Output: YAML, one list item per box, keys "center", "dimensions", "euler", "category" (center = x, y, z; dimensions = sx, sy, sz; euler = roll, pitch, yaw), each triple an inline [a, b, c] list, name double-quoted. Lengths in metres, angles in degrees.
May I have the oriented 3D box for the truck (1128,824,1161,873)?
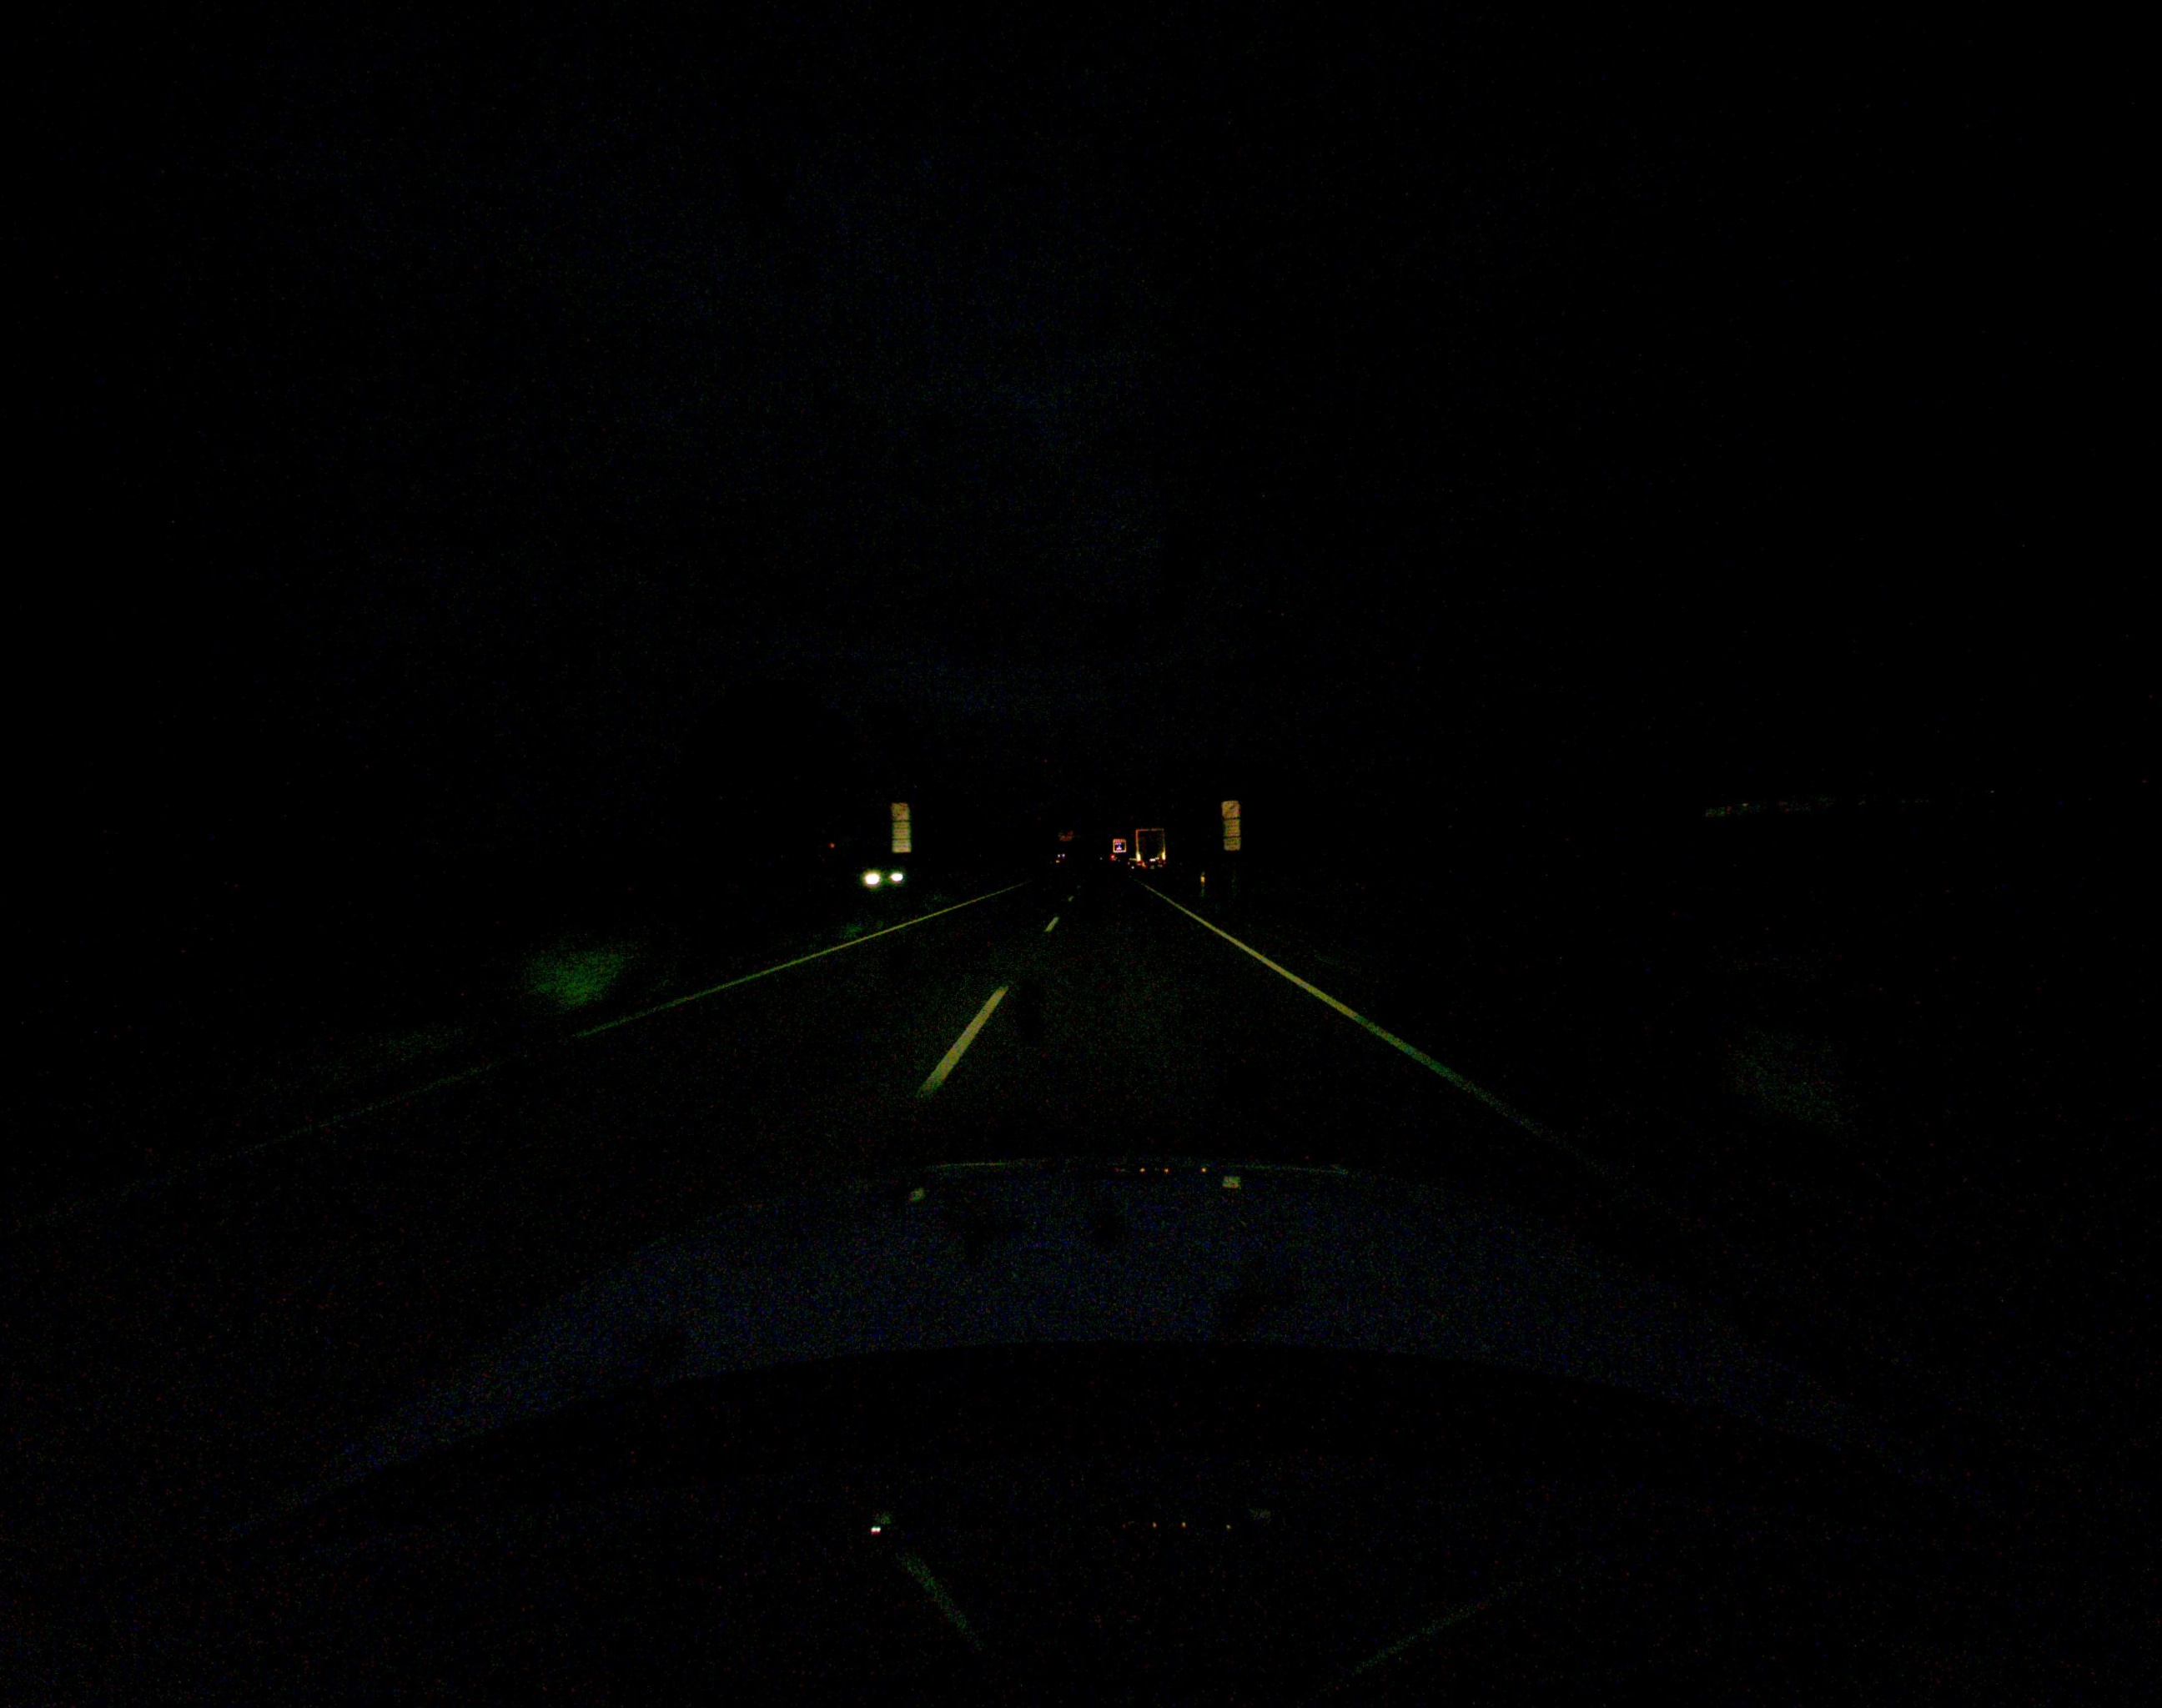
- center: [5.470, -0.456, 70.678]
  dimensions: [2.569, 4.071, 6.133]
  euler: [-1, 0, 2]
  category: "truck"

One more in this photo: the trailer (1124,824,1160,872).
- center: [5.625, -0.466, 77.194]
  dimensions: [2.612, 4.104, 12.940]
  euler: [-2, 0, 1]
  category: "trailer"

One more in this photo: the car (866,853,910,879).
- center: [-11.362, 0.683, 48.159]
  dimensions: [1.649, 1.505, 4.000]
  euler: [0, 0, 0]
  category: "car"
